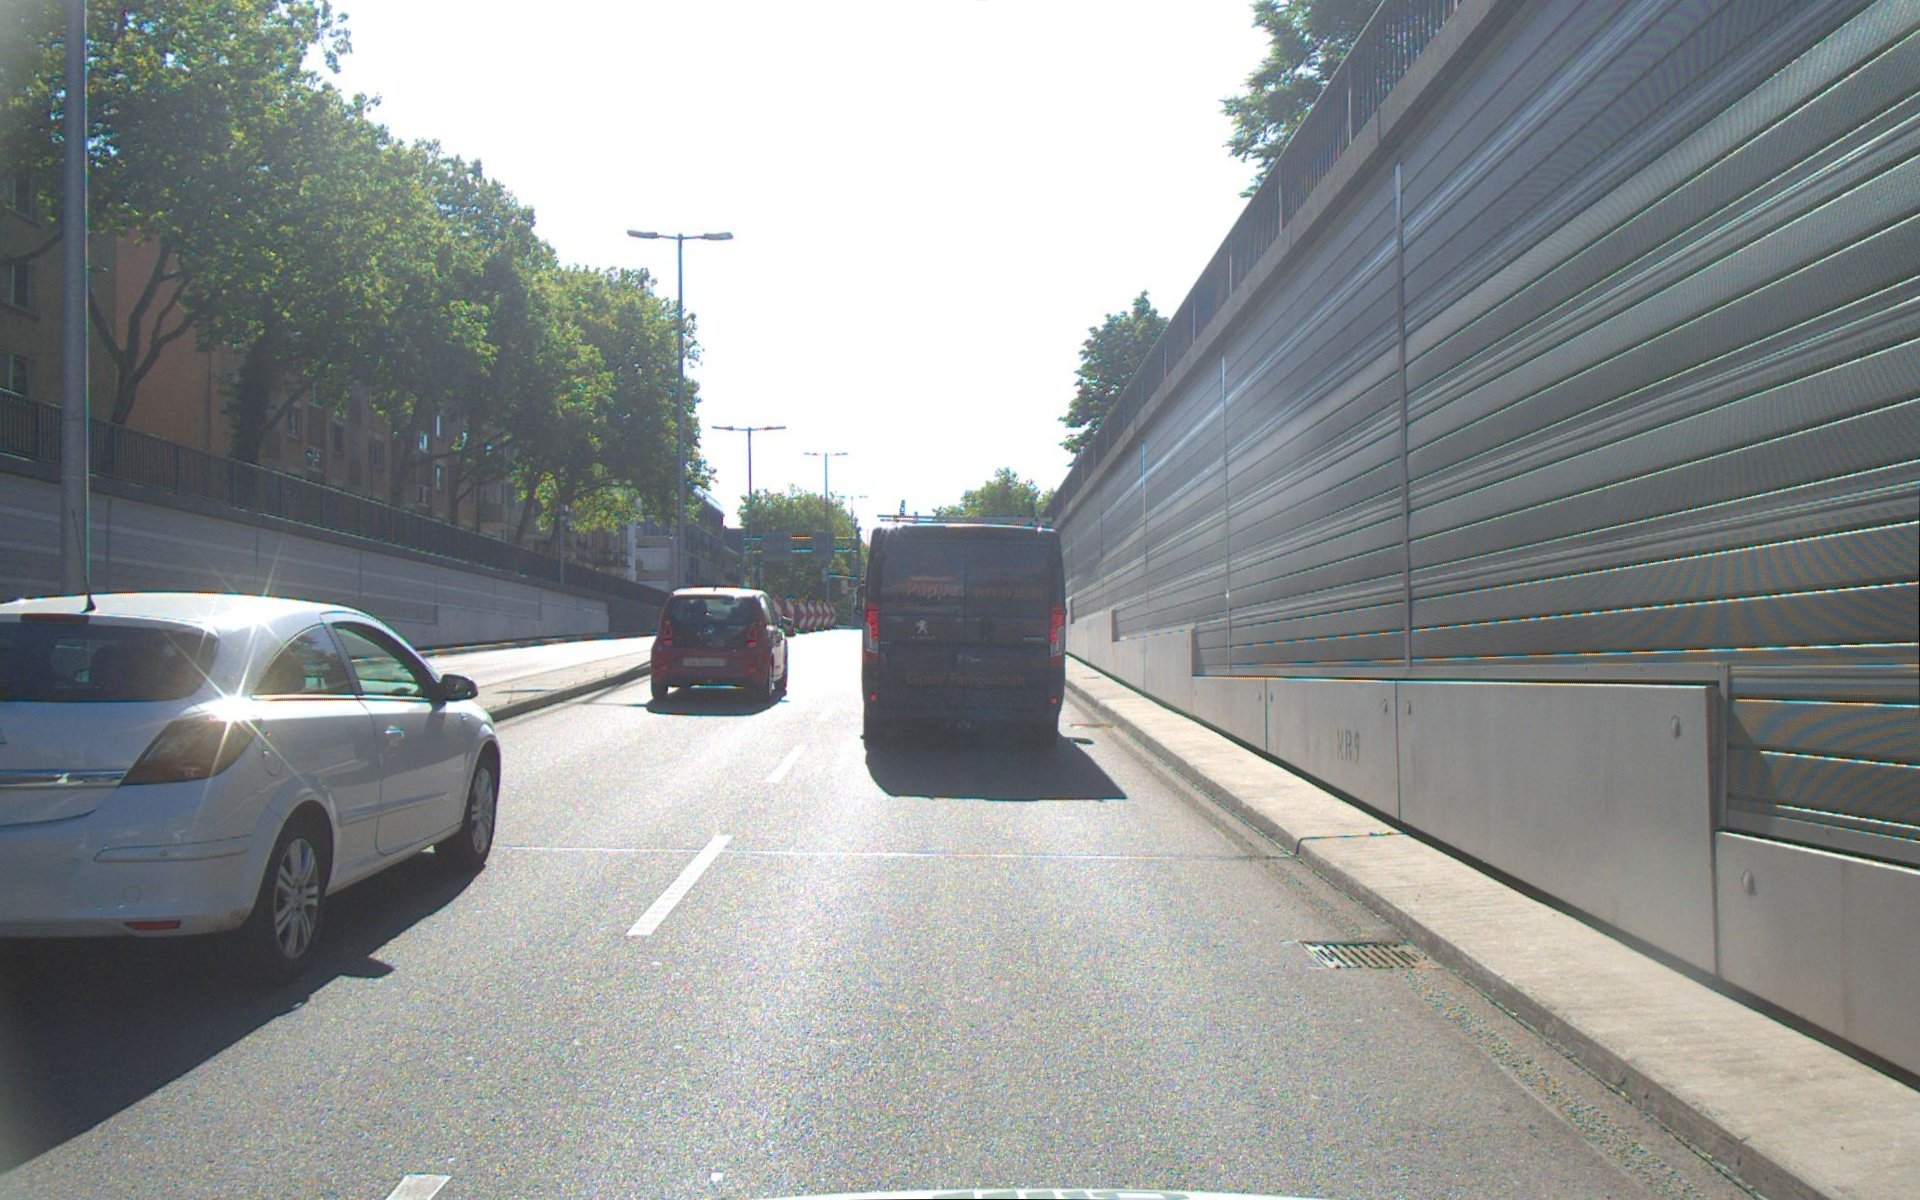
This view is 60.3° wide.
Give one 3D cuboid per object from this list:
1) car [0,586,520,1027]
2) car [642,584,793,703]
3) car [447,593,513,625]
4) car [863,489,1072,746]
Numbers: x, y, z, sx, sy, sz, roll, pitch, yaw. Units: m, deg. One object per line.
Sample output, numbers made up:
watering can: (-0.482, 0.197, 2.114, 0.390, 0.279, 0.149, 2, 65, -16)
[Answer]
car: (-3.226, 0.685, 7.298, 1.586, 1.428, 3.851, 1, -1, -1)
car: (-3.275, 0.546, 22.881, 1.655, 1.509, 3.318, 1, 0, -1)
car: (-23.020, 0.468, 79.494, 1.953, 1.413, 4.171, 1, -2, -1)
car: (0.044, 0.185, 17.749, 1.989, 2.444, 3.971, 0, -1, -1)
